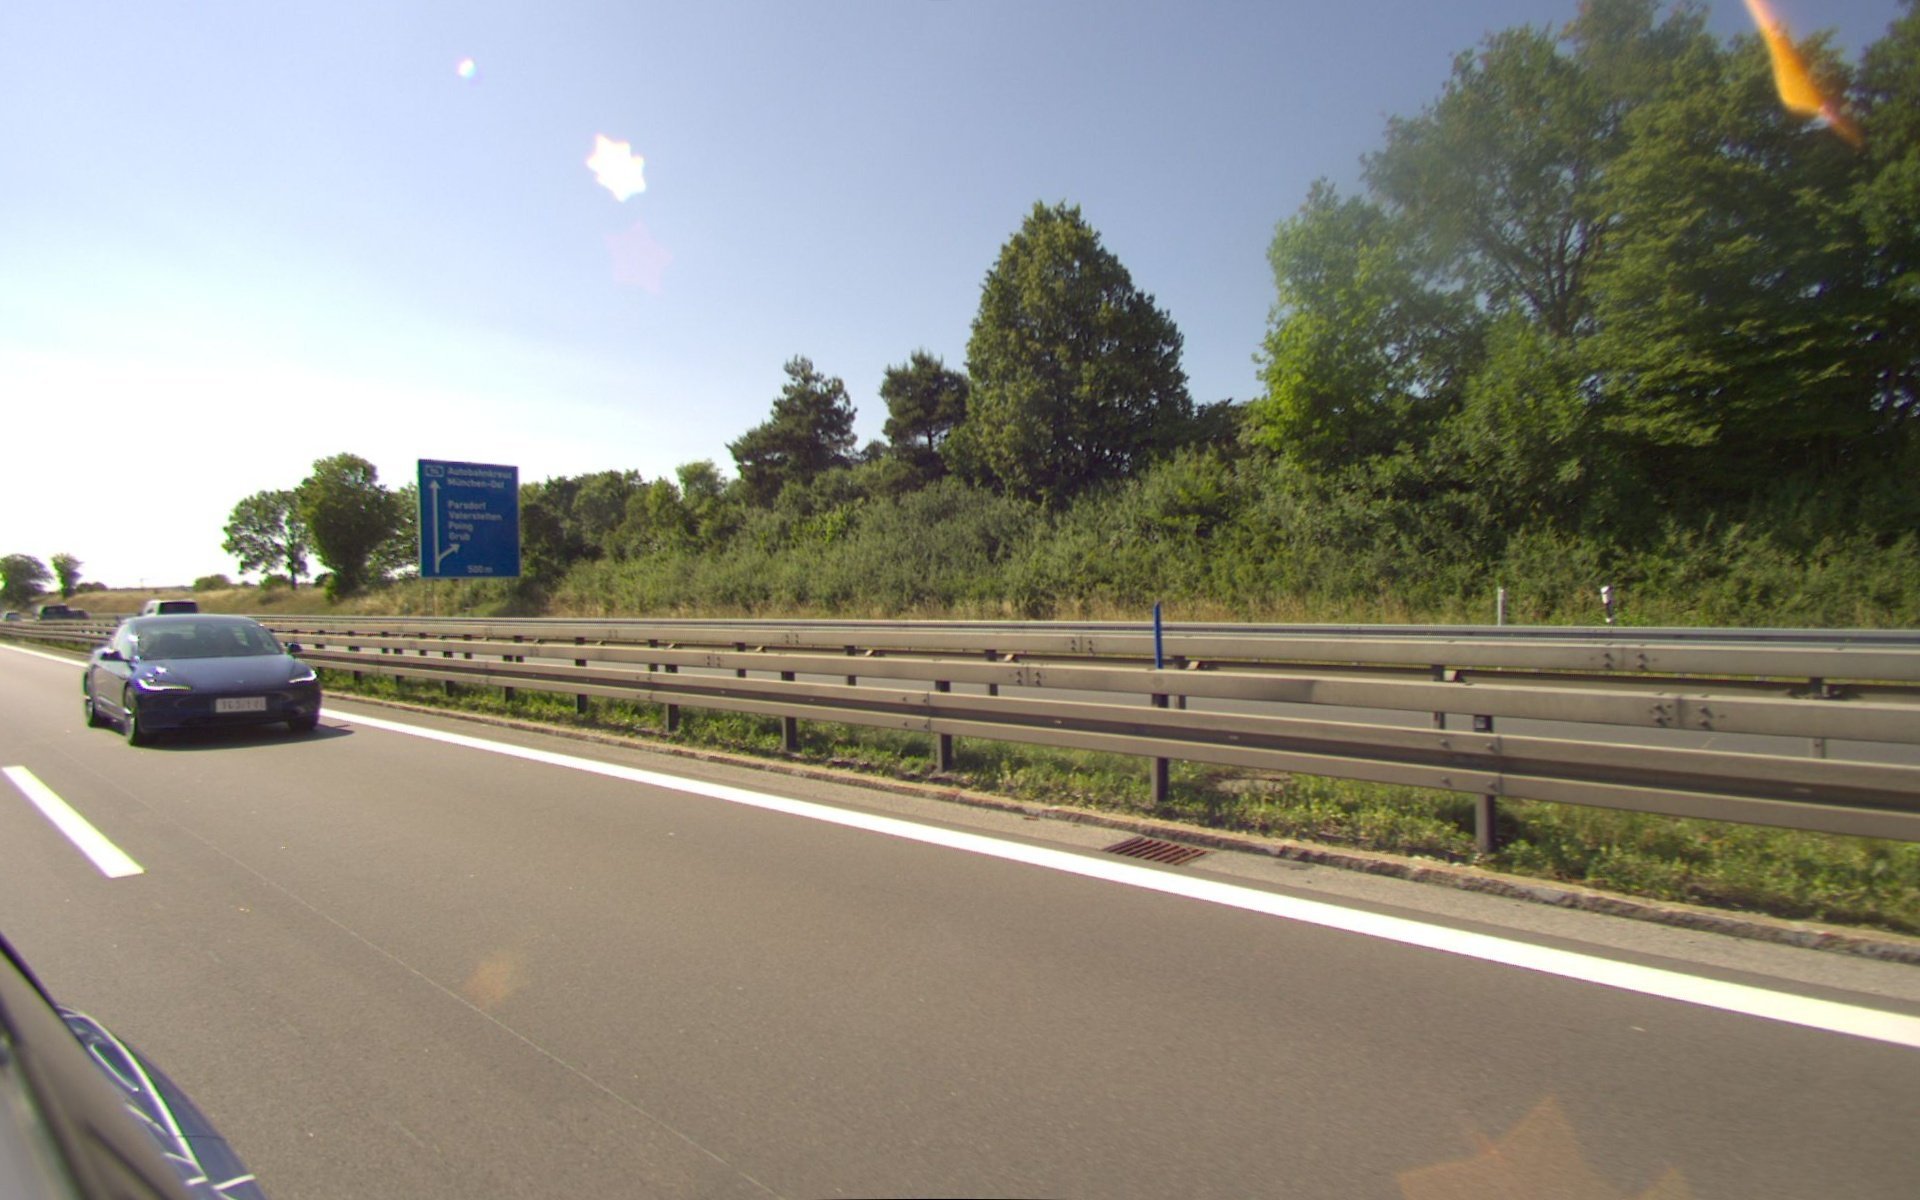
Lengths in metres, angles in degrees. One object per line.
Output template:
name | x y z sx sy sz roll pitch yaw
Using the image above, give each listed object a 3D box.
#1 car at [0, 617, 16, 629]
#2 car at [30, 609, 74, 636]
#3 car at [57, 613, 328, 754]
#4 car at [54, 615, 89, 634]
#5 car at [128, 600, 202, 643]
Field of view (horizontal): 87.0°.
car | -121.476 2.927 128.913 4.231 1.362 1.506 -1 1 42
car | -71.088 1.774 79.212 5.038 1.987 1.972 -1 0 42
car | -10.210 0.922 13.232 5.865 1.443 1.827 -1 -1 43
car | -83.651 2.286 95.282 4.486 1.624 1.972 -1 1 42
car | -40.234 1.082 51.160 5.690 2.005 1.972 -1 0 42
